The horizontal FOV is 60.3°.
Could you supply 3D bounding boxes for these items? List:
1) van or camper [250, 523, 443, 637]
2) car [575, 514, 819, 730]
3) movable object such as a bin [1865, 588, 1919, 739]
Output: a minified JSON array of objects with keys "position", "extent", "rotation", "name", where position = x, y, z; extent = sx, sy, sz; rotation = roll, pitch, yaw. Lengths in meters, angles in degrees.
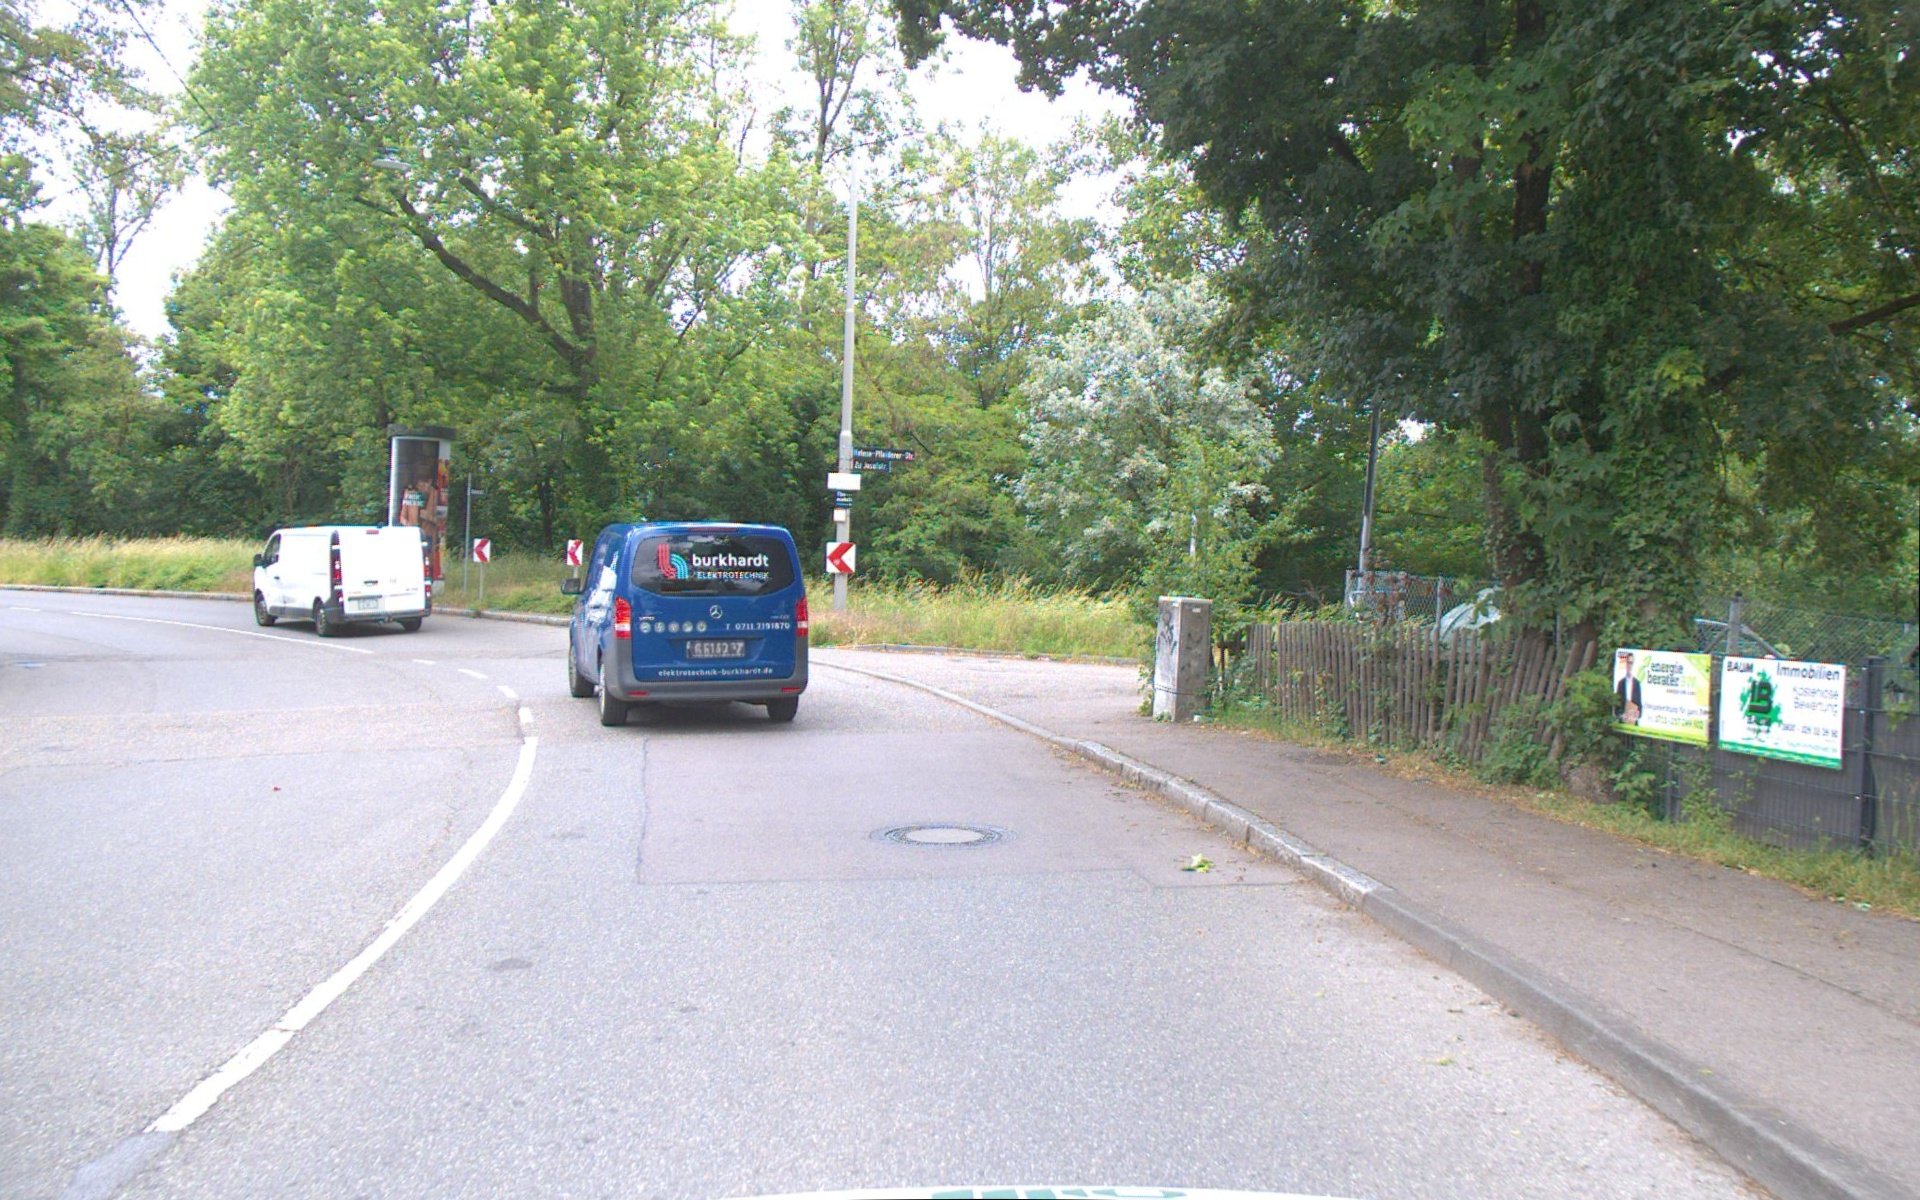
[{"position":[-11.849,-0.468,31.764],"extent":[2.007,1.990,4.827],"rotation":[-2,3,-40],"name":"van or camper"},{"position":[-2.783,0.139,16.709],"extent":[1.883,1.869,4.274],"rotation":[0,1,-17],"name":"car"},{"position":[10.840,0.696,17.573],"extent":[1.395,1.574,1.673],"rotation":[1,1,-8],"name":"movable object such as a bin"}]
